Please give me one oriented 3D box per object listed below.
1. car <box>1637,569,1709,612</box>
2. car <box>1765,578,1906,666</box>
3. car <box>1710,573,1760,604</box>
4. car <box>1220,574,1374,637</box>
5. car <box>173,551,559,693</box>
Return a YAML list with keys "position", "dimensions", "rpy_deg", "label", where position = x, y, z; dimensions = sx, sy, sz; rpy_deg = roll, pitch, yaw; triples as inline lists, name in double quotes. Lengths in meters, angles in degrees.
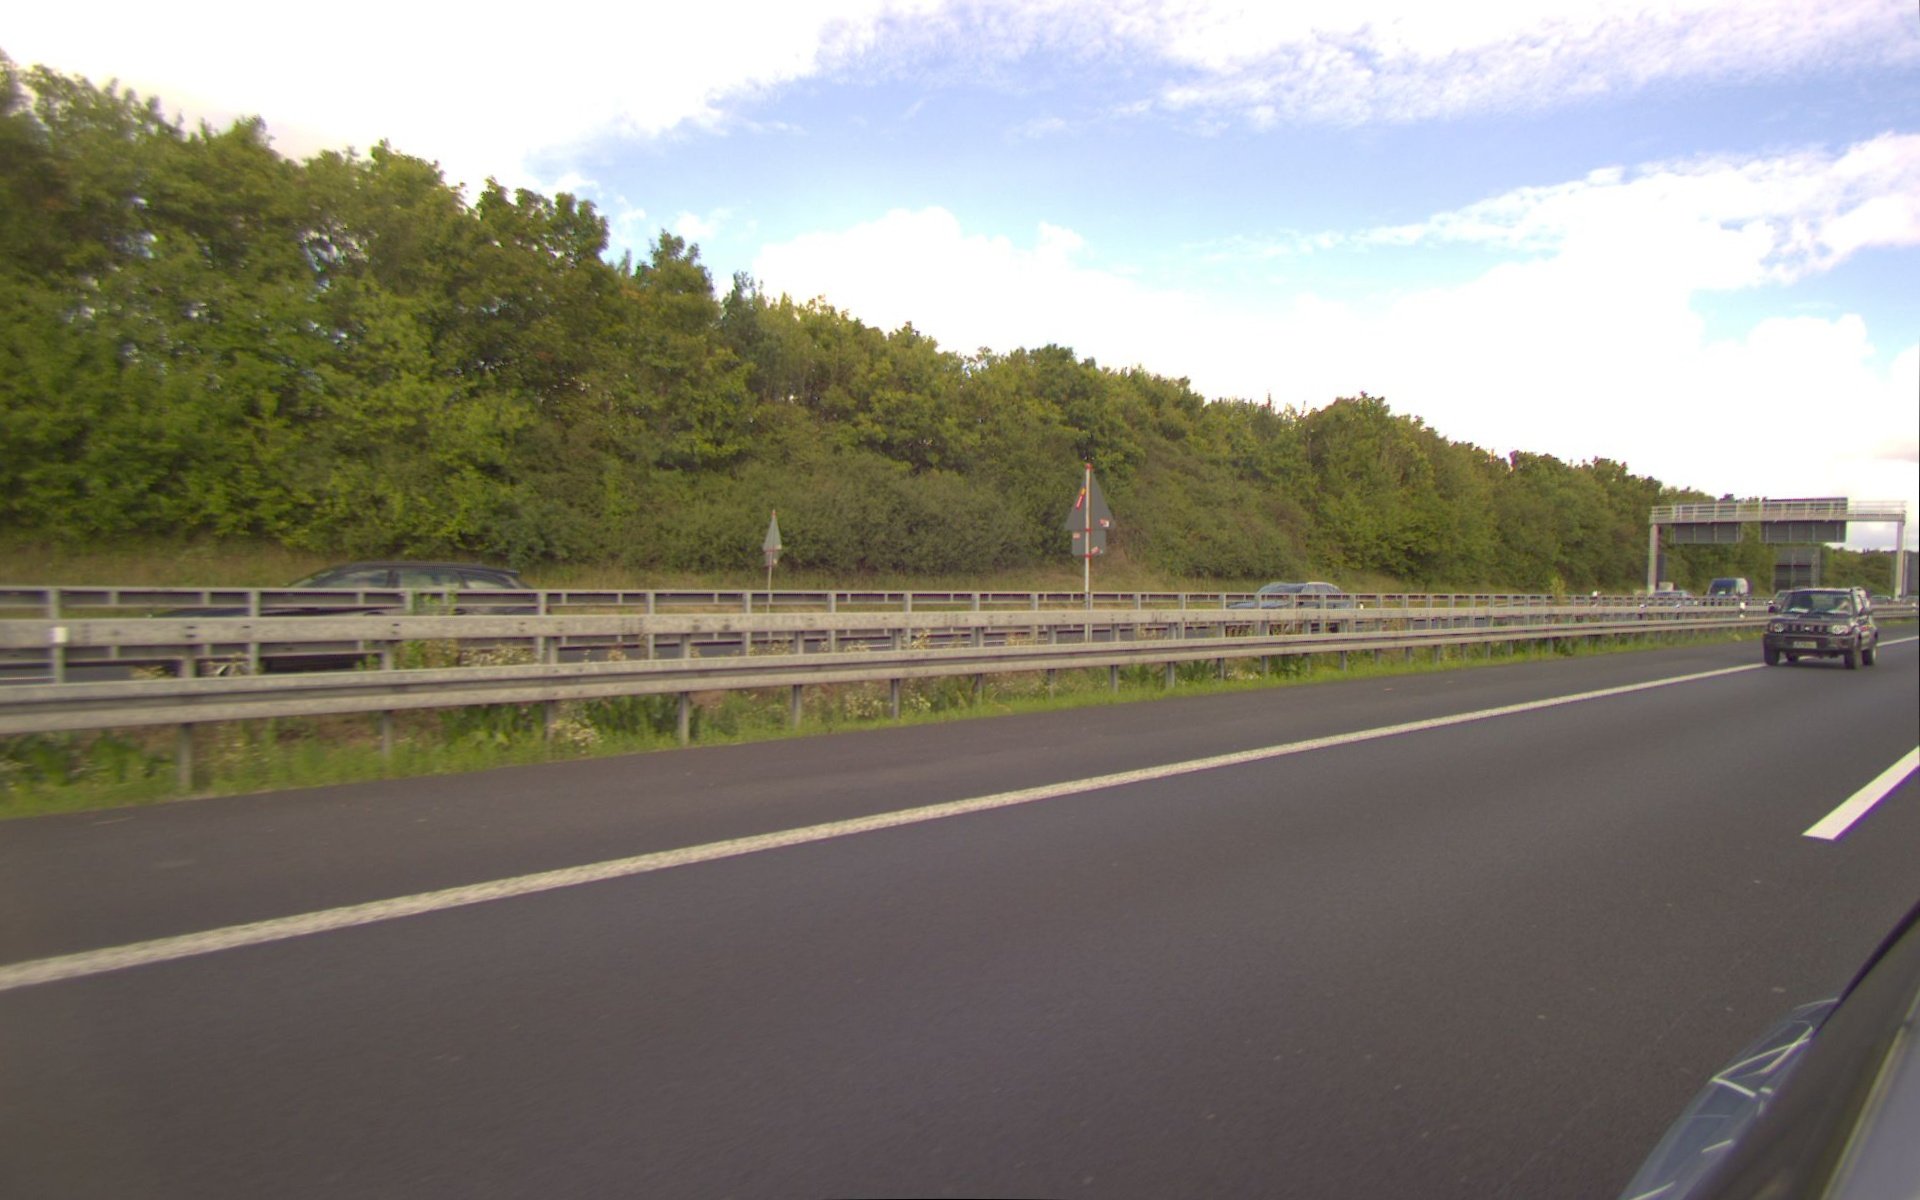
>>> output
- position: [36.113, -0.508, 51.249]
  dimensions: [3.930, 2.038, 1.998]
  rpy_deg: [0, 3, -40]
  label: "car"
- position: [19.592, 0.418, 22.595]
  dimensions: [4.131, 1.754, 1.670]
  rpy_deg: [0, 2, -39]
  label: "car"
- position: [58.166, -0.850, 75.919]
  dimensions: [5.040, 2.212, 1.997]
  rpy_deg: [0, 2, -42]
  label: "car"
- position: [8.934, 0.108, 26.661]
  dimensions: [4.236, 1.503, 1.997]
  rpy_deg: [0, 2, -42]
  label: "car"
- position: [-7.422, 0.189, 12.824]
  dimensions: [3.931, 1.503, 1.997]
  rpy_deg: [0, 2, -42]
  label: "car"
